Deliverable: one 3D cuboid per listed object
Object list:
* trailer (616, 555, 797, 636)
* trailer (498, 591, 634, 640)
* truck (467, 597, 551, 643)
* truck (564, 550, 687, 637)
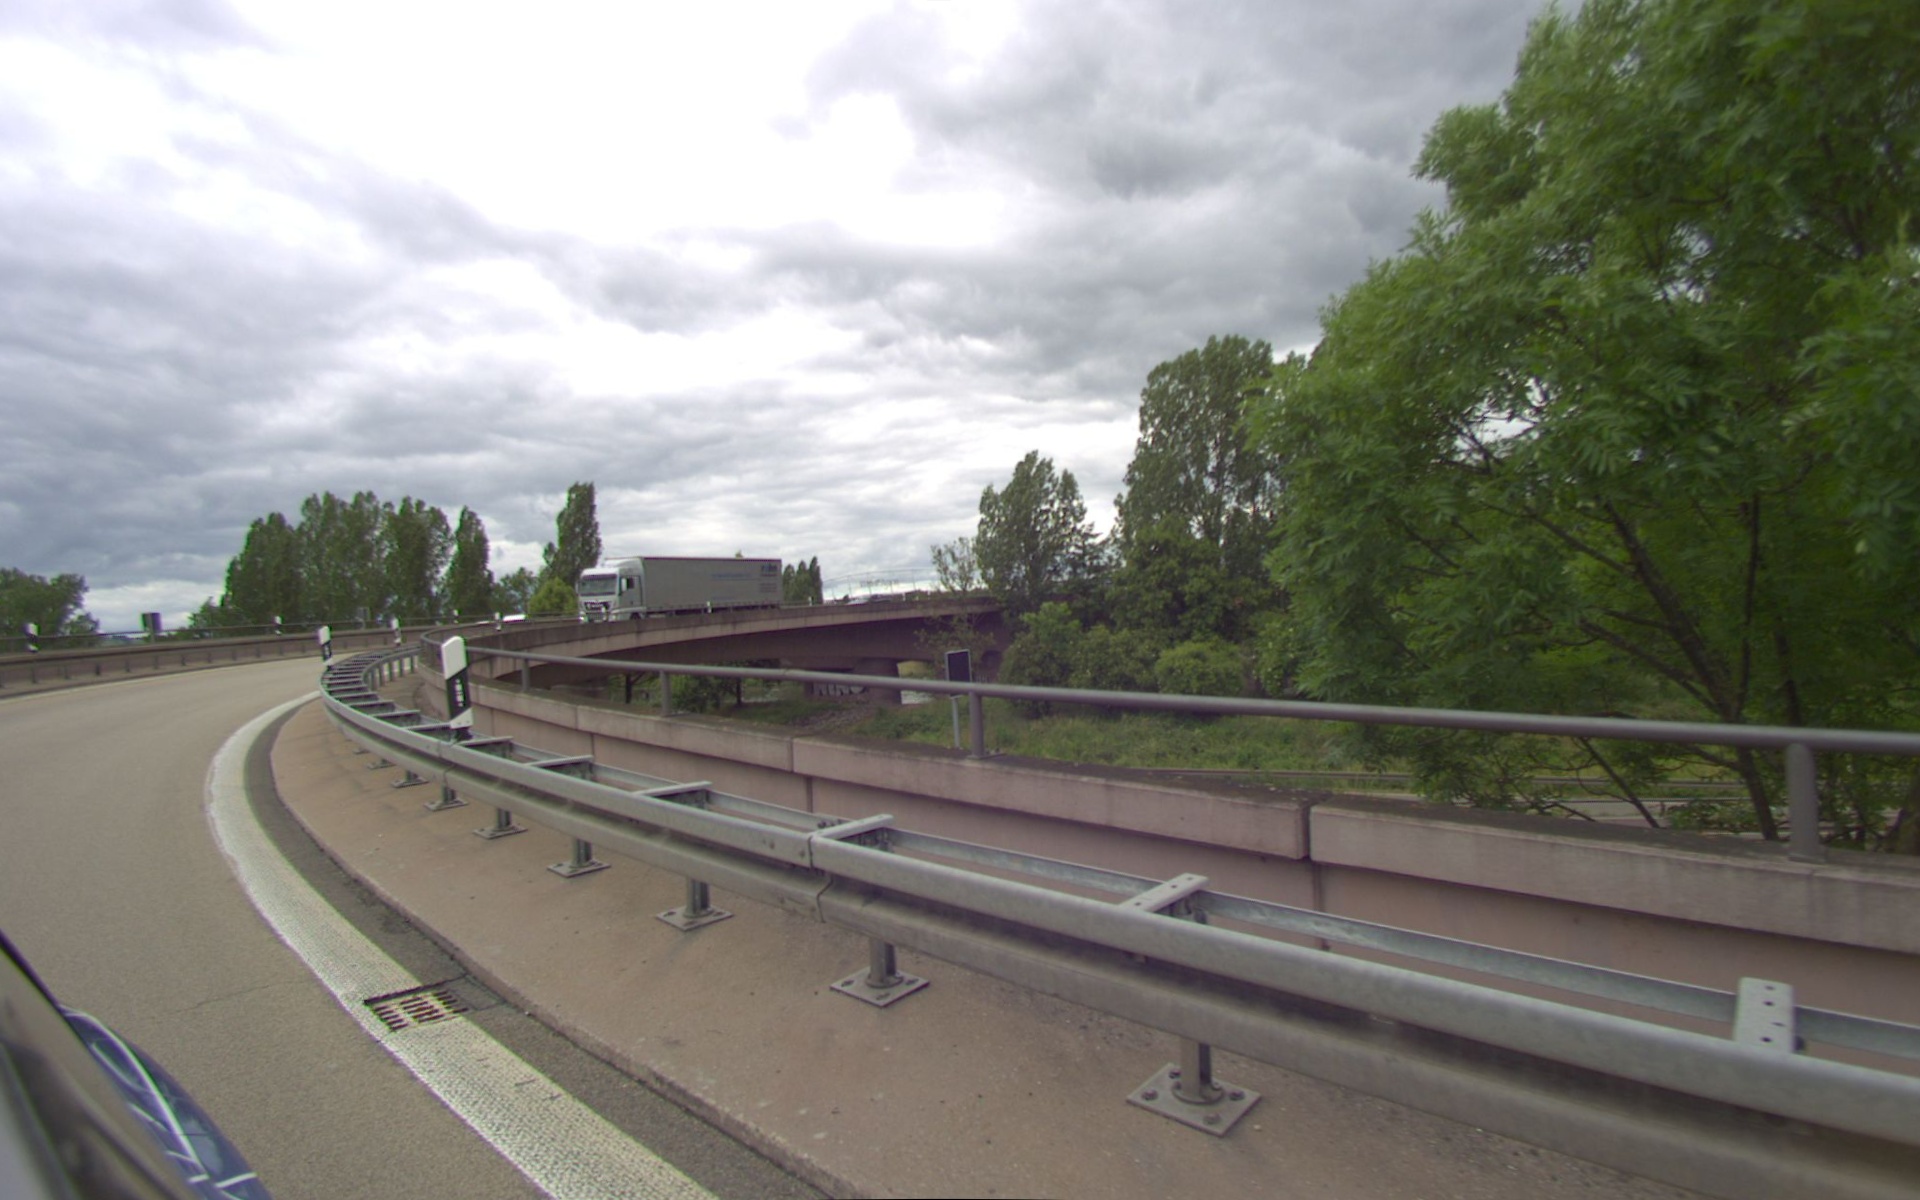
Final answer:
[{"bbox_3d":[-14.774,-0.378,60.943,2.733,4.269,13.337,-3,0,24],"label":"trailer"},{"bbox_3d":[-35.255,1.366,90.878,10.838,3.677,2.752,-3,0,-5],"label":"trailer"},{"bbox_3d":[-40.298,1.742,90.518,6.109,3.673,2.739,-3,0,-4],"label":"truck"},{"bbox_3d":[-17.656,-0.378,53.886,2.718,4.260,6.156,-3,0,22],"label":"truck"}]
